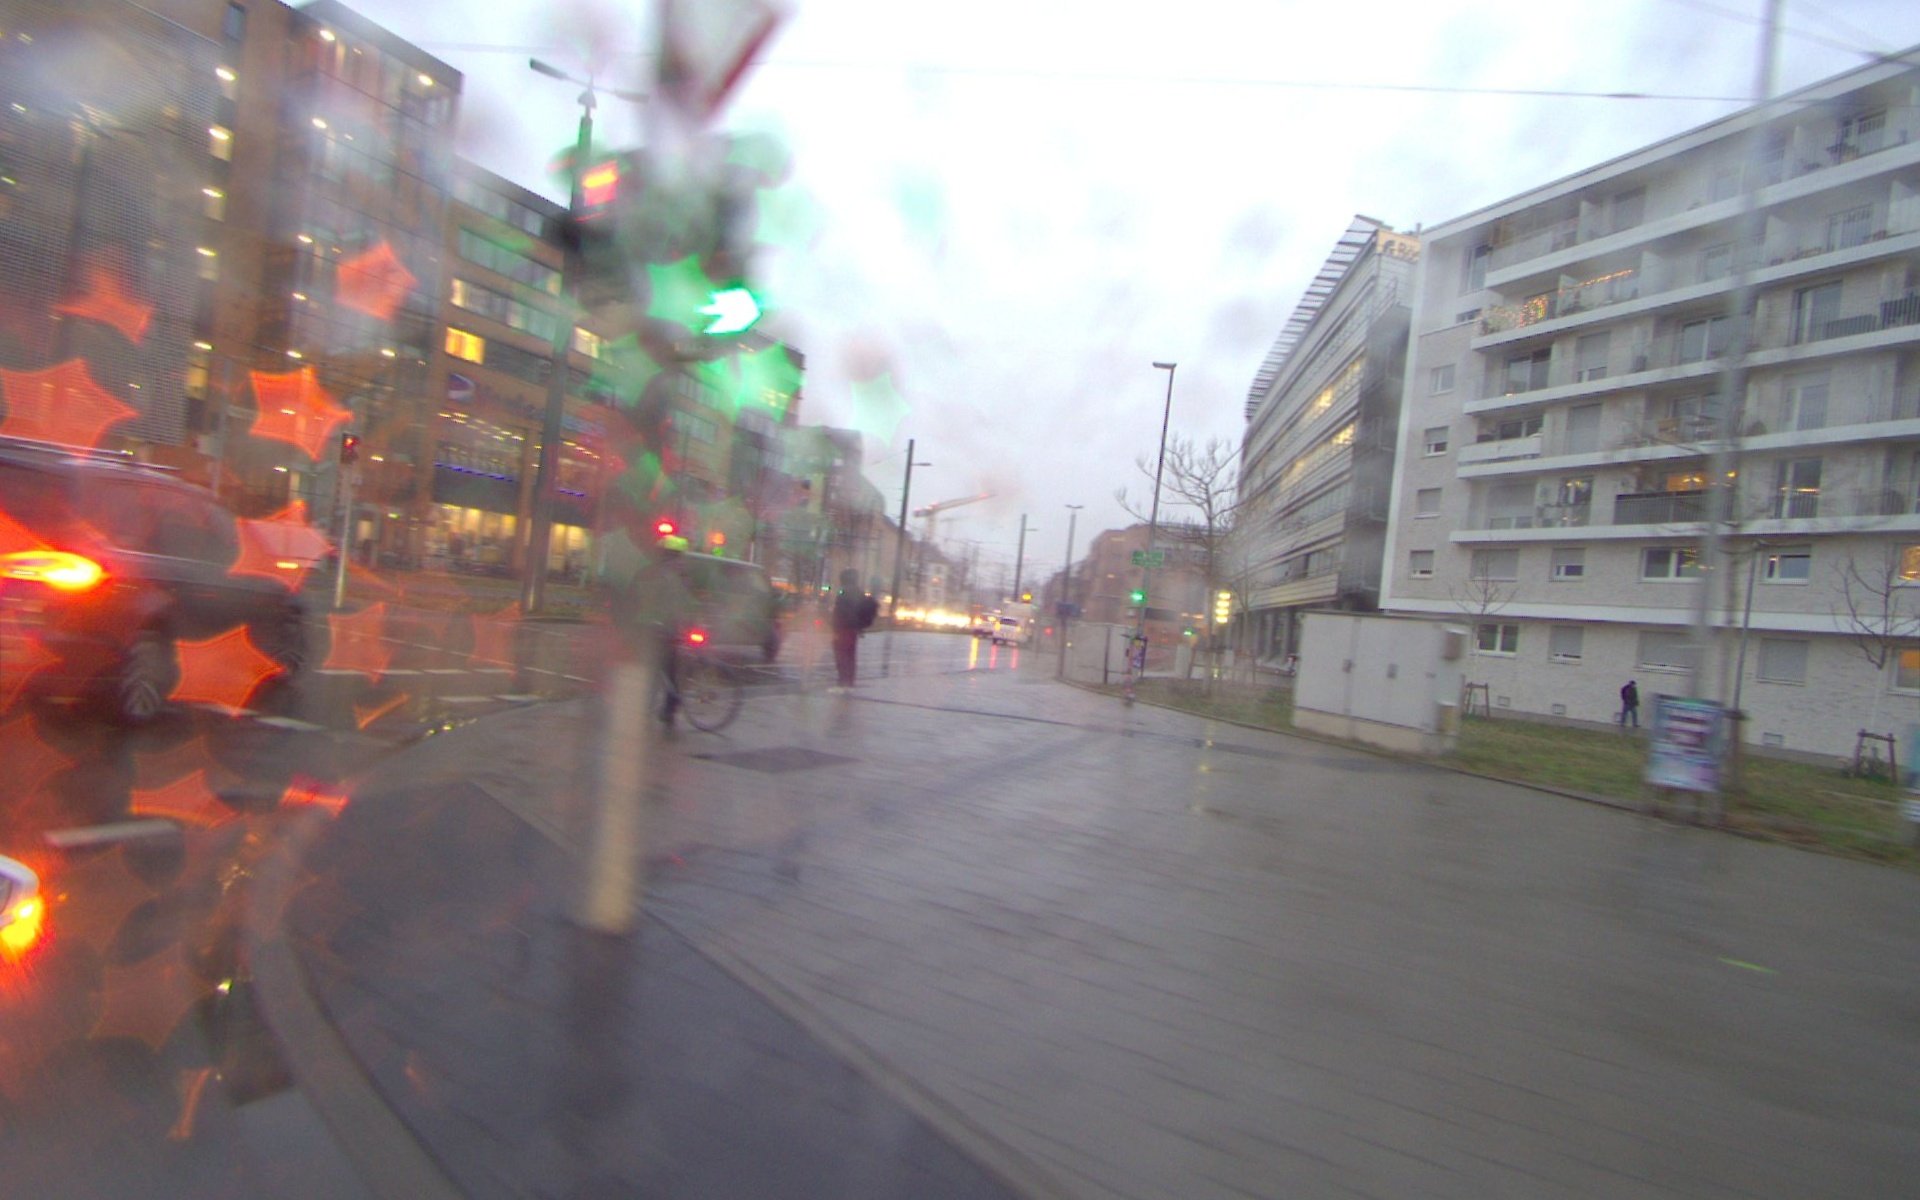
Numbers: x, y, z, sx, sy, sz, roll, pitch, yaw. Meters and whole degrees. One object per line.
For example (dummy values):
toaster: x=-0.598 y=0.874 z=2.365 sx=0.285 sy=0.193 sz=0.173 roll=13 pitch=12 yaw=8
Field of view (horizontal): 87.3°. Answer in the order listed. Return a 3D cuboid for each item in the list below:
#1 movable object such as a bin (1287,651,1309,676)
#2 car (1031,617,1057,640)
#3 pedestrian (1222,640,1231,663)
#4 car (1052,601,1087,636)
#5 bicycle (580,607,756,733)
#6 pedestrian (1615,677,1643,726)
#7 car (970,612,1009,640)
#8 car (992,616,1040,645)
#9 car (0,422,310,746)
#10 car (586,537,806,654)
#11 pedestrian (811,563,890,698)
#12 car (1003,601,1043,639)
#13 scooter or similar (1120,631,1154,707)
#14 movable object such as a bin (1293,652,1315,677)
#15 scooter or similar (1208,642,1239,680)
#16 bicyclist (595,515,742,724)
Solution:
movable object such as a bin: x=19.425 y=3.663 z=57.850 sx=0.830 sy=1.310 sz=1.169 roll=5 pitch=0 yaw=5
car: x=6.660 y=2.242 z=79.080 sx=1.494 sy=1.538 sz=3.474 roll=7 pitch=-1 yaw=11
pedestrian: x=21.071 y=4.068 z=79.583 sx=0.522 sy=1.703 sz=0.745 roll=7 pitch=0 yaw=15
car: x=10.473 y=1.824 z=95.519 sx=2.317 sy=2.861 sz=6.363 roll=7 pitch=-1 yaw=12
bicycle: x=-2.938 y=0.672 z=10.023 sx=1.839 sy=0.985 sz=0.654 roll=6 pitch=0 yaw=38
pedestrian: x=24.141 y=3.664 z=36.310 sx=0.623 sy=1.653 sz=0.719 roll=7 pitch=1 yaw=40
car: x=1.926 y=1.666 z=64.128 sx=1.612 sy=1.514 sz=3.686 roll=7 pitch=0 yaw=14
car: x=3.119 y=1.705 z=55.678 sx=1.614 sy=1.377 sz=3.734 roll=7 pitch=-1 yaw=18
car: x=-6.444 y=-0.165 z=7.507 sx=1.657 sy=1.800 sz=3.983 roll=8 pitch=-2 yaw=-21
car: x=-4.916 y=0.013 z=19.516 sx=1.815 sy=1.828 sz=4.488 roll=7 pitch=-1 yaw=18
pedestrian: x=-1.635 y=0.453 z=15.008 sx=0.768 sy=1.901 sz=0.629 roll=6 pitch=1 yaw=-35
car: x=4.605 y=1.482 z=72.592 sx=1.962 sy=2.457 sz=5.978 roll=7 pitch=-1 yaw=11
scooter or similar: x=3.081 y=1.182 z=17.583 sx=0.327 sy=1.221 sz=1.309 roll=6 pitch=0 yaw=4
movable object such as a bin: x=19.270 y=3.625 z=56.415 sx=0.830 sy=1.310 sz=1.169 roll=5 pitch=0 yaw=5
scooter or similar: x=9.558 y=2.227 z=36.520 sx=0.658 sy=1.241 sz=1.556 roll=6 pitch=-2 yaw=27
bicyclist: x=-2.873 y=0.188 z=9.923 sx=0.974 sy=1.914 sz=0.790 roll=7 pitch=1 yaw=38
